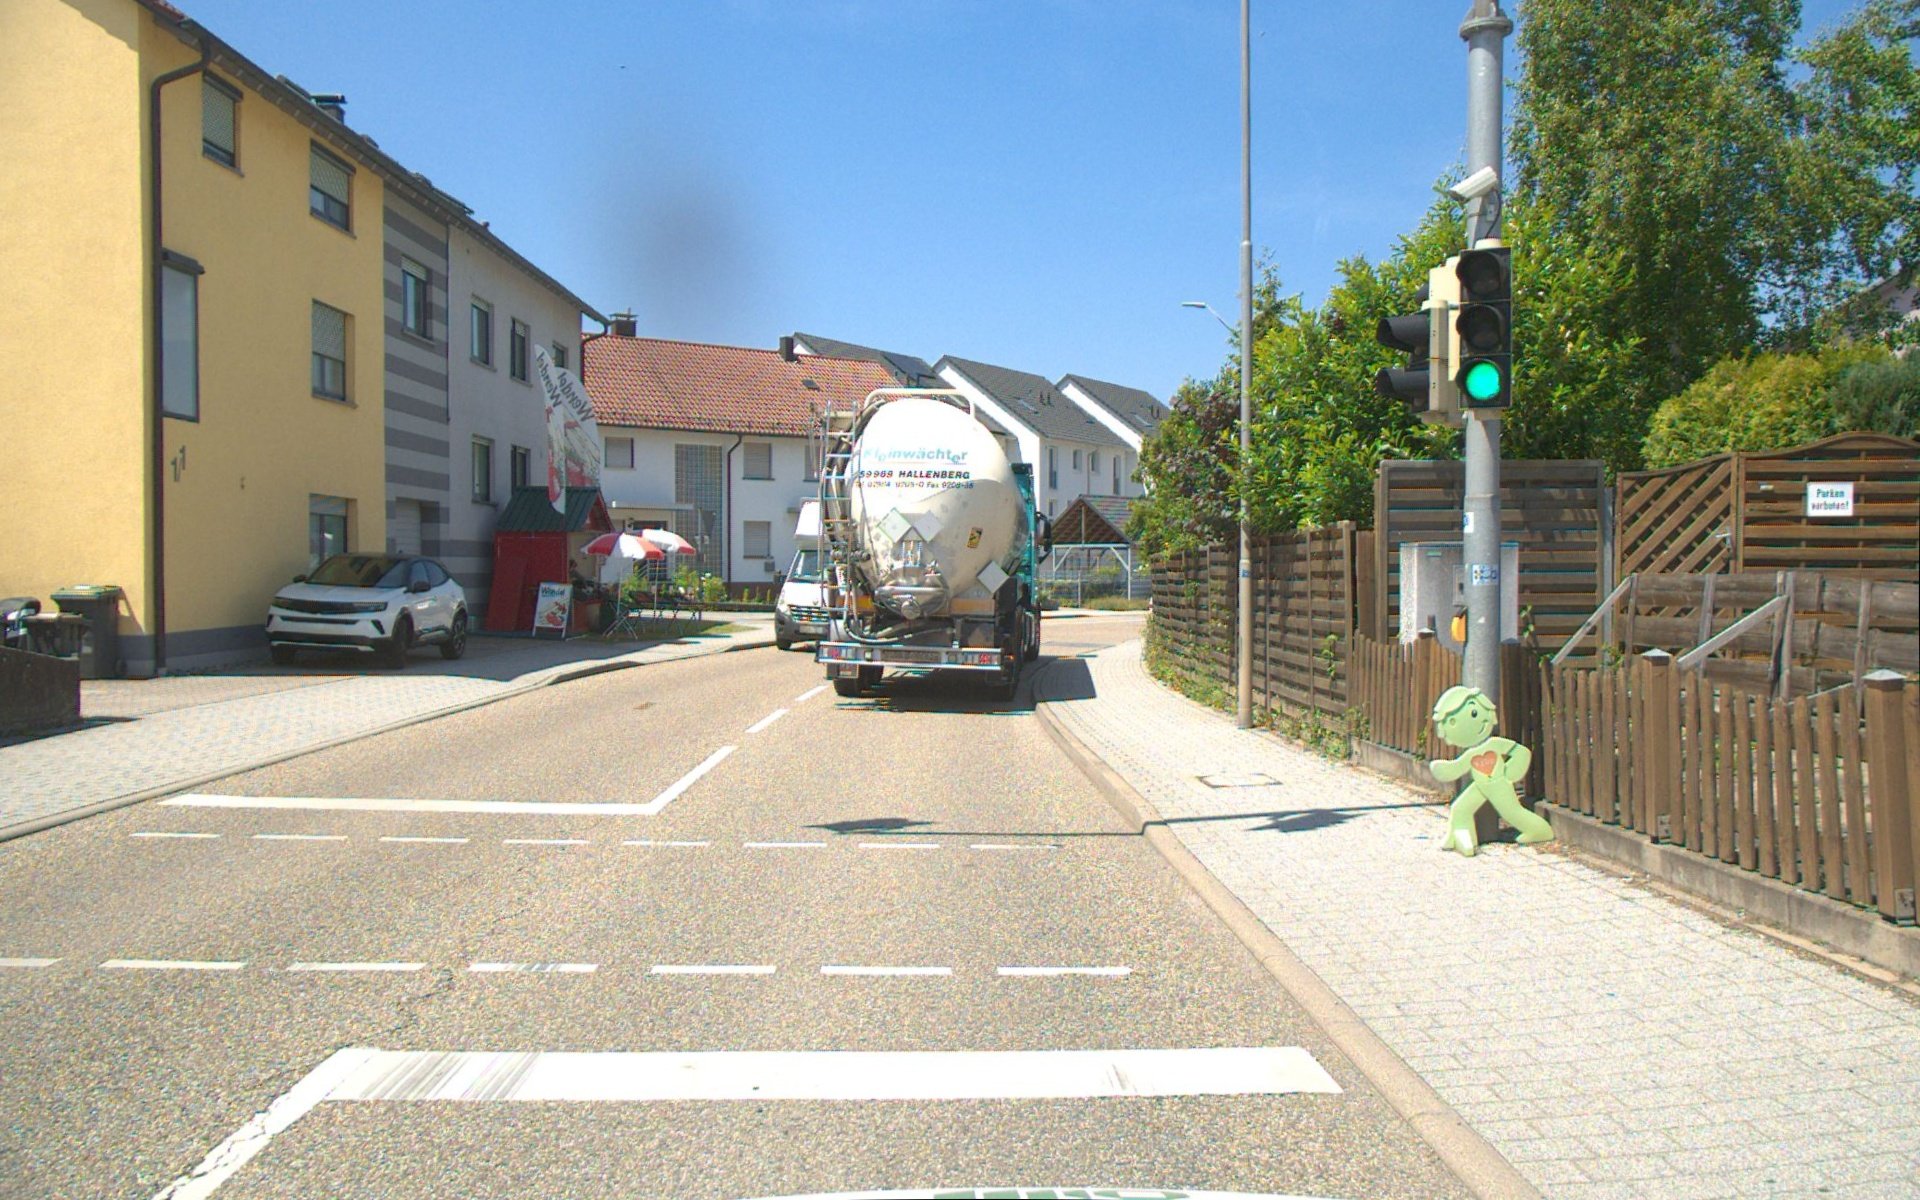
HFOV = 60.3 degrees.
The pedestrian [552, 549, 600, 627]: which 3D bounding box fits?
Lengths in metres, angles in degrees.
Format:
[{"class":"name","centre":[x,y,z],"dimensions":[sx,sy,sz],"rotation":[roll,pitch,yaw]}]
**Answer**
[{"class":"pedestrian","centre":[-8.090,-0.263,34.875],"dimensions":[0.600,1.615,0.807],"rotation":[1,1,32]}]

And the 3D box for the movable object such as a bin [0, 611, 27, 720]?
[{"class":"movable object such as a bin","centre":[-8.682,0.580,14.717],"dimensions":[0.438,0.944,0.561],"rotation":[1,0,-2]}]

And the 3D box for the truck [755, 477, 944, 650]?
[{"class":"truck","centre":[-2.303,-0.809,37.538],"dimensions":[2.414,3.425,7.624],"rotation":[3,1,9]}]

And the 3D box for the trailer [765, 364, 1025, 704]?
[{"class":"trailer","centre":[-0.549,-0.873,25.504],"dimensions":[2.891,4.016,11.624],"rotation":[-1,1,3]}]

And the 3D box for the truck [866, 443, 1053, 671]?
[{"class":"truck","centre":[0.138,-0.842,33.231],"dimensions":[2.924,4.033,5.583],"rotation":[-3,1,7]}]

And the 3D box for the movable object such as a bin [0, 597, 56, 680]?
[{"class":"movable object such as a bin","centre":[-10.804,0.437,18.922],"dimensions":[0.585,0.926,0.607],"rotation":[0,0,-2]}]

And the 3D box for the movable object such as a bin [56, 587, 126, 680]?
[{"class":"movable object such as a bin","centre":[-10.100,0.380,19.231],"dimensions":[0.490,1.061,0.607],"rotation":[1,0,-2]}]

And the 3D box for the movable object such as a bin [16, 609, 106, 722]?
[{"class":"movable object such as a bin","centre":[-7.993,0.573,14.725],"dimensions":[0.490,0.964,0.554],"rotation":[1,0,-2]}]

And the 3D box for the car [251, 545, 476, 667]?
[{"class":"car","centre":[-8.413,0.051,23.730],"dimensions":[1.695,1.579,4.188],"rotation":[1,1,0]}]

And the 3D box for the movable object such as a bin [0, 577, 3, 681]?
[{"class":"movable object such as a bin","centre":[-11.470,0.337,19.013],"dimensions":[0.541,1.217,0.695],"rotation":[1,0,-2]}]
